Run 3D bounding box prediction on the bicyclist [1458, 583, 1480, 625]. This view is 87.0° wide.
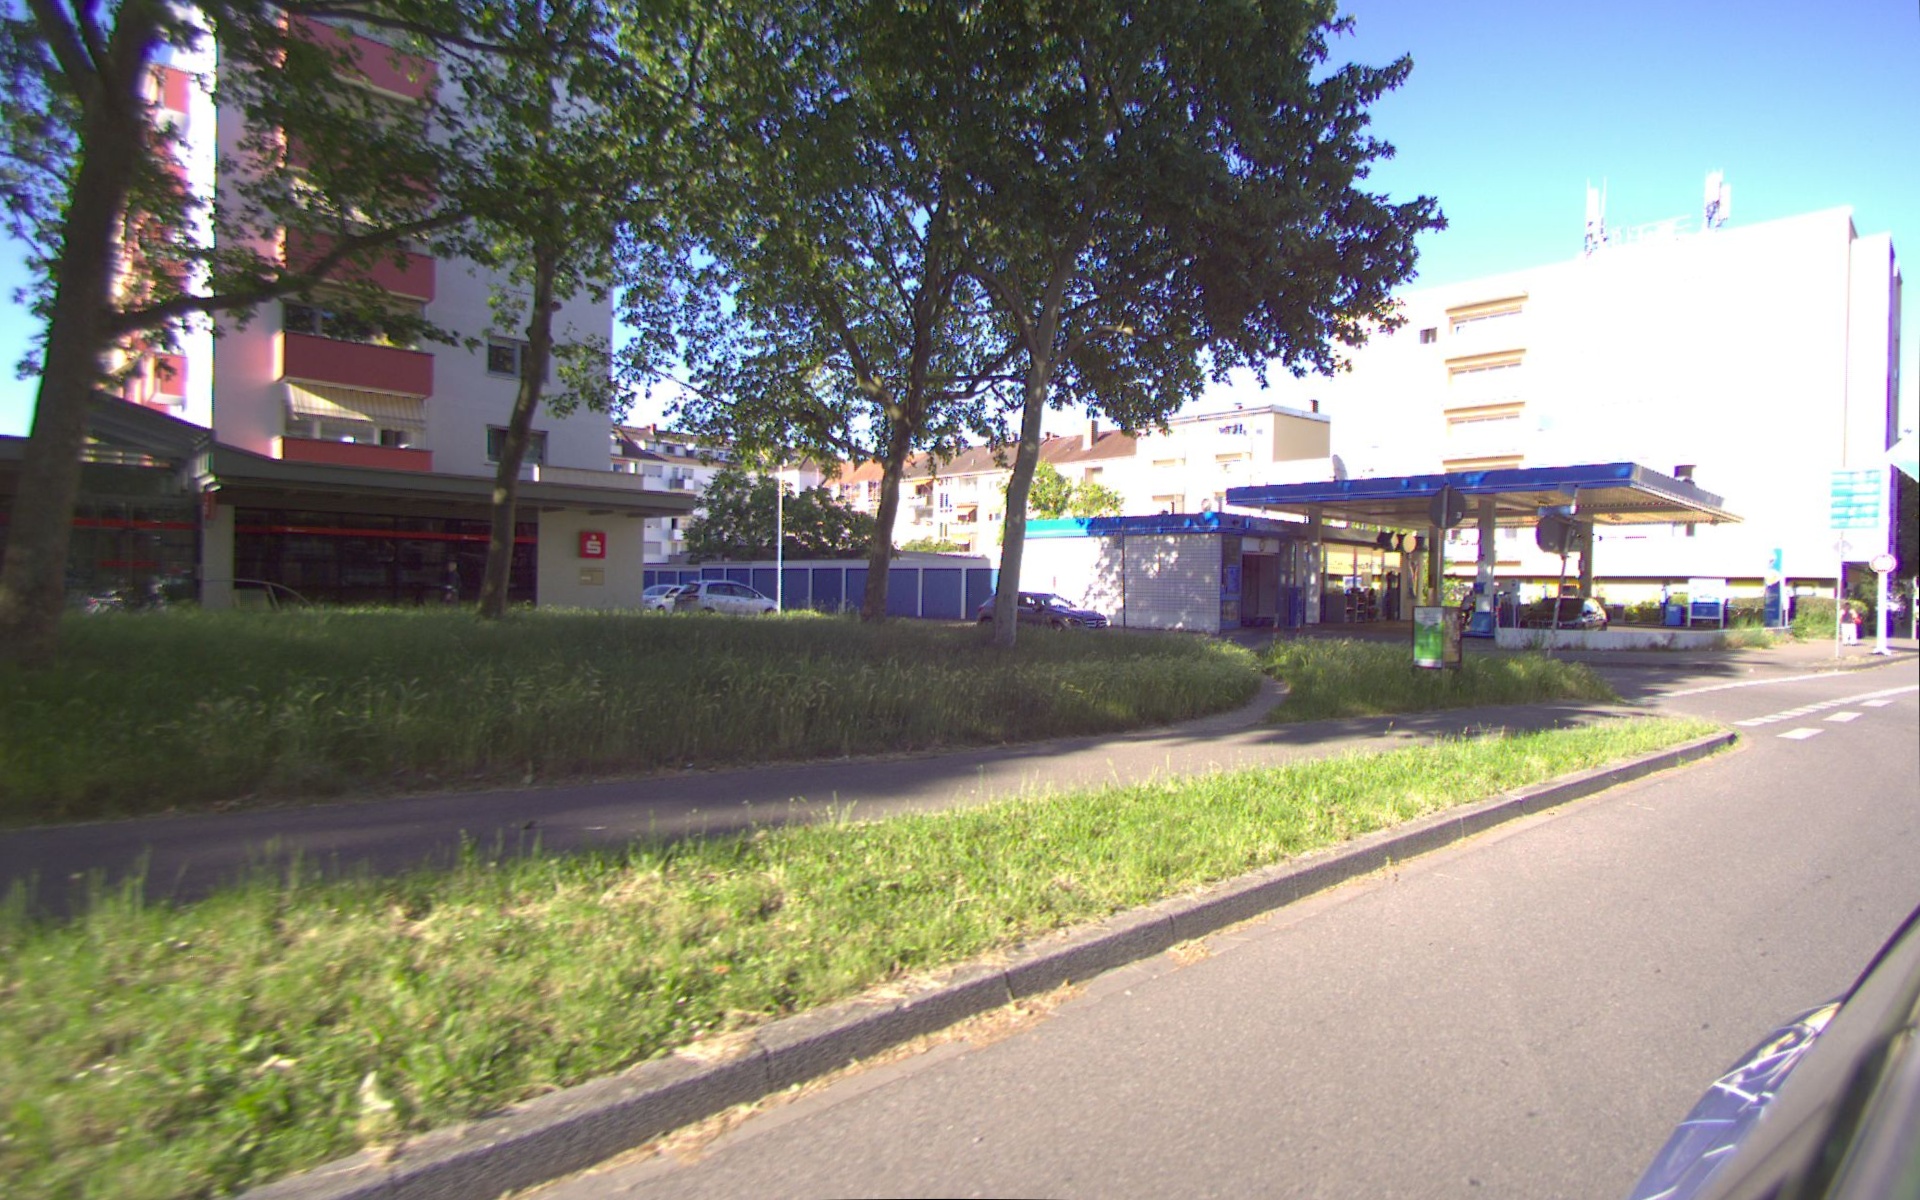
[{"bbox_3d":[18.947,0.130,37.670,0.618,1.539,0.539,1,0,-42],"label":"bicyclist"}]

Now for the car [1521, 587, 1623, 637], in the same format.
[{"bbox_3d":[19.630,0.366,32.404,3.936,1.481,1.723,1,1,-42],"label":"car"}]

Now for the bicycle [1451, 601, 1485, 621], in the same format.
[{"bbox_3d":[18.905,0.414,37.639,1.679,0.724,0.540,1,1,-42],"label":"bicycle"}]

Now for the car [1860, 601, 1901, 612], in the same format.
[{"bbox_3d":[94.858,0.692,104.279,4.192,1.080,2.002,0,1,-32],"label":"car"}]

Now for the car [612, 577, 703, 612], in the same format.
[{"bbox_3d":[-13.073,-0.236,43.850,1.899,1.441,3.519,2,1,26],"label":"car"}]

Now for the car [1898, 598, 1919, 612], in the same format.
[{"bbox_3d":[96.478,0.522,101.881,4.192,1.340,2.002,0,1,-32],"label":"car"}]

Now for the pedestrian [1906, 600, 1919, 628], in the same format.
[{"bbox_3d":[55.023,0.809,58.349,0.501,1.565,0.513,3,2,32],"label":"pedestrian"}]

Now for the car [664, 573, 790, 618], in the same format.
[{"bbox_3d":[-8.373,-0.158,36.513,4.044,1.522,1.872,0,1,-42],"label":"car"}]

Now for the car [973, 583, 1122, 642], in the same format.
[{"bbox_3d":[2.504,0.318,29.789,1.949,1.550,4.197,0,1,-42],"label":"car"}]

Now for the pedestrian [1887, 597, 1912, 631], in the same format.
[{"bbox_3d":[54.490,0.802,58.681,0.784,1.850,1.022,3,2,32],"label":"pedestrian"}]

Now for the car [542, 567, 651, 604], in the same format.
[{"bbox_3d":[-16.156,-0.632,45.111,4.132,1.577,1.980,1,1,-42],"label":"car"}]

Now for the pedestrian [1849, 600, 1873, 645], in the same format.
[{"bbox_3d":[35.158,0.865,39.489,0.542,1.723,0.606,1,0,-37],"label":"pedestrian"}]
